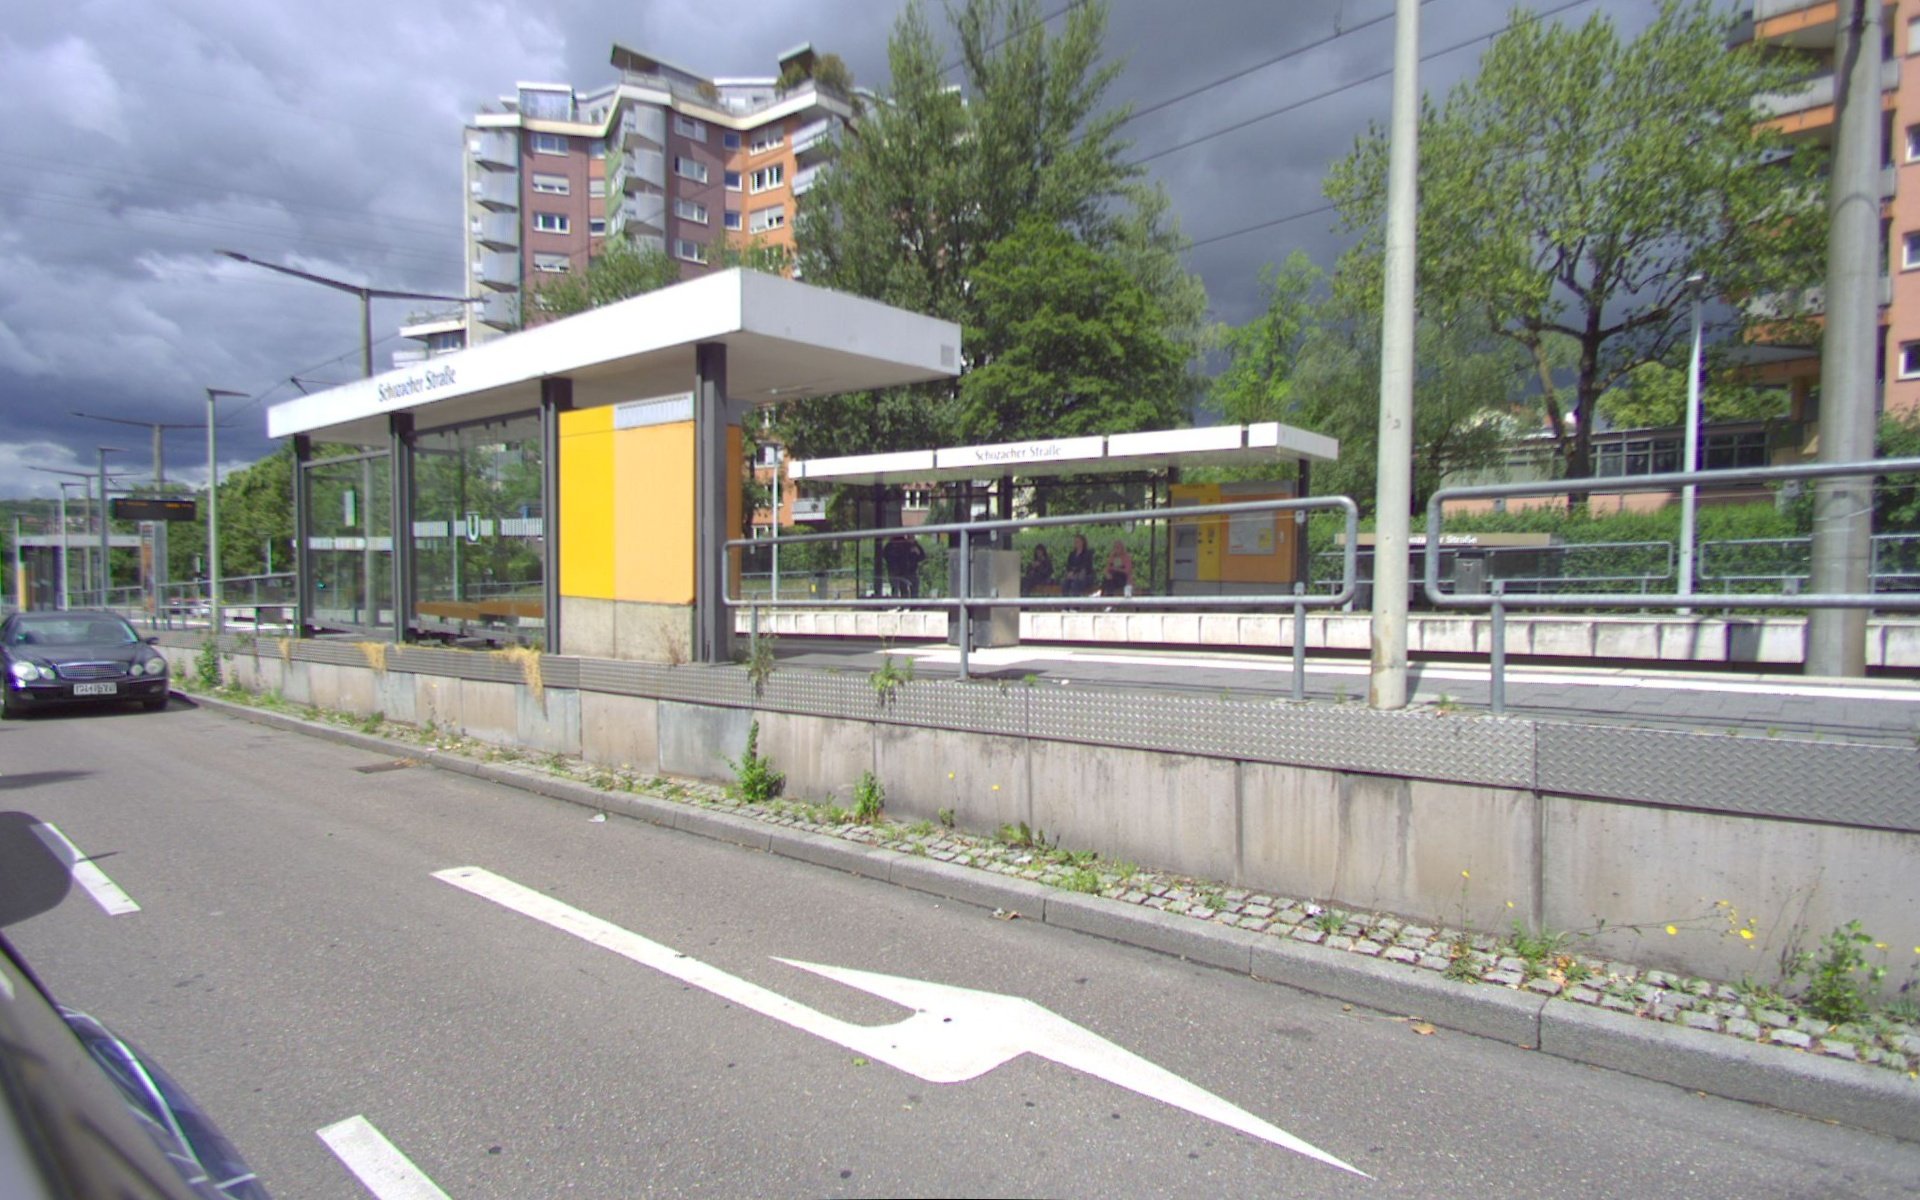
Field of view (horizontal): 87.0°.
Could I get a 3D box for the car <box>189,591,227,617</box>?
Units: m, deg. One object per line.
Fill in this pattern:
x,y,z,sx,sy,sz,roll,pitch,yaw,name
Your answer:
-60.693,0.297,81.644,4.000,2.029,1.714,0,0,43,car

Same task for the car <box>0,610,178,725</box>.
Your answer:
-13.006,0.871,14.825,4.065,1.395,1.797,0,0,43,car

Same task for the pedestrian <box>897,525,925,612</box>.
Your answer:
-0.982,-0.623,20.267,0.543,1.726,0.387,0,0,-5,pedestrian

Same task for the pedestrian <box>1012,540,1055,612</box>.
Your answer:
1.342,-0.427,18.506,0.463,1.287,0.704,0,0,40,pedestrian

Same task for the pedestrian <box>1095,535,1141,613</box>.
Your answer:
2.679,-0.433,17.150,0.463,1.287,0.704,0,0,40,pedestrian

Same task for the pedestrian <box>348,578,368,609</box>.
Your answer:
-25.337,-0.274,42.601,0.560,1.287,0.531,0,0,32,pedestrian

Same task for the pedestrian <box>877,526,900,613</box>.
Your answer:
-1.422,-0.607,20.186,0.420,1.726,0.354,0,0,-6,pedestrian

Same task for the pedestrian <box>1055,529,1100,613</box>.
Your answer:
2.056,-0.500,17.704,0.463,1.428,0.704,0,0,40,pedestrian
